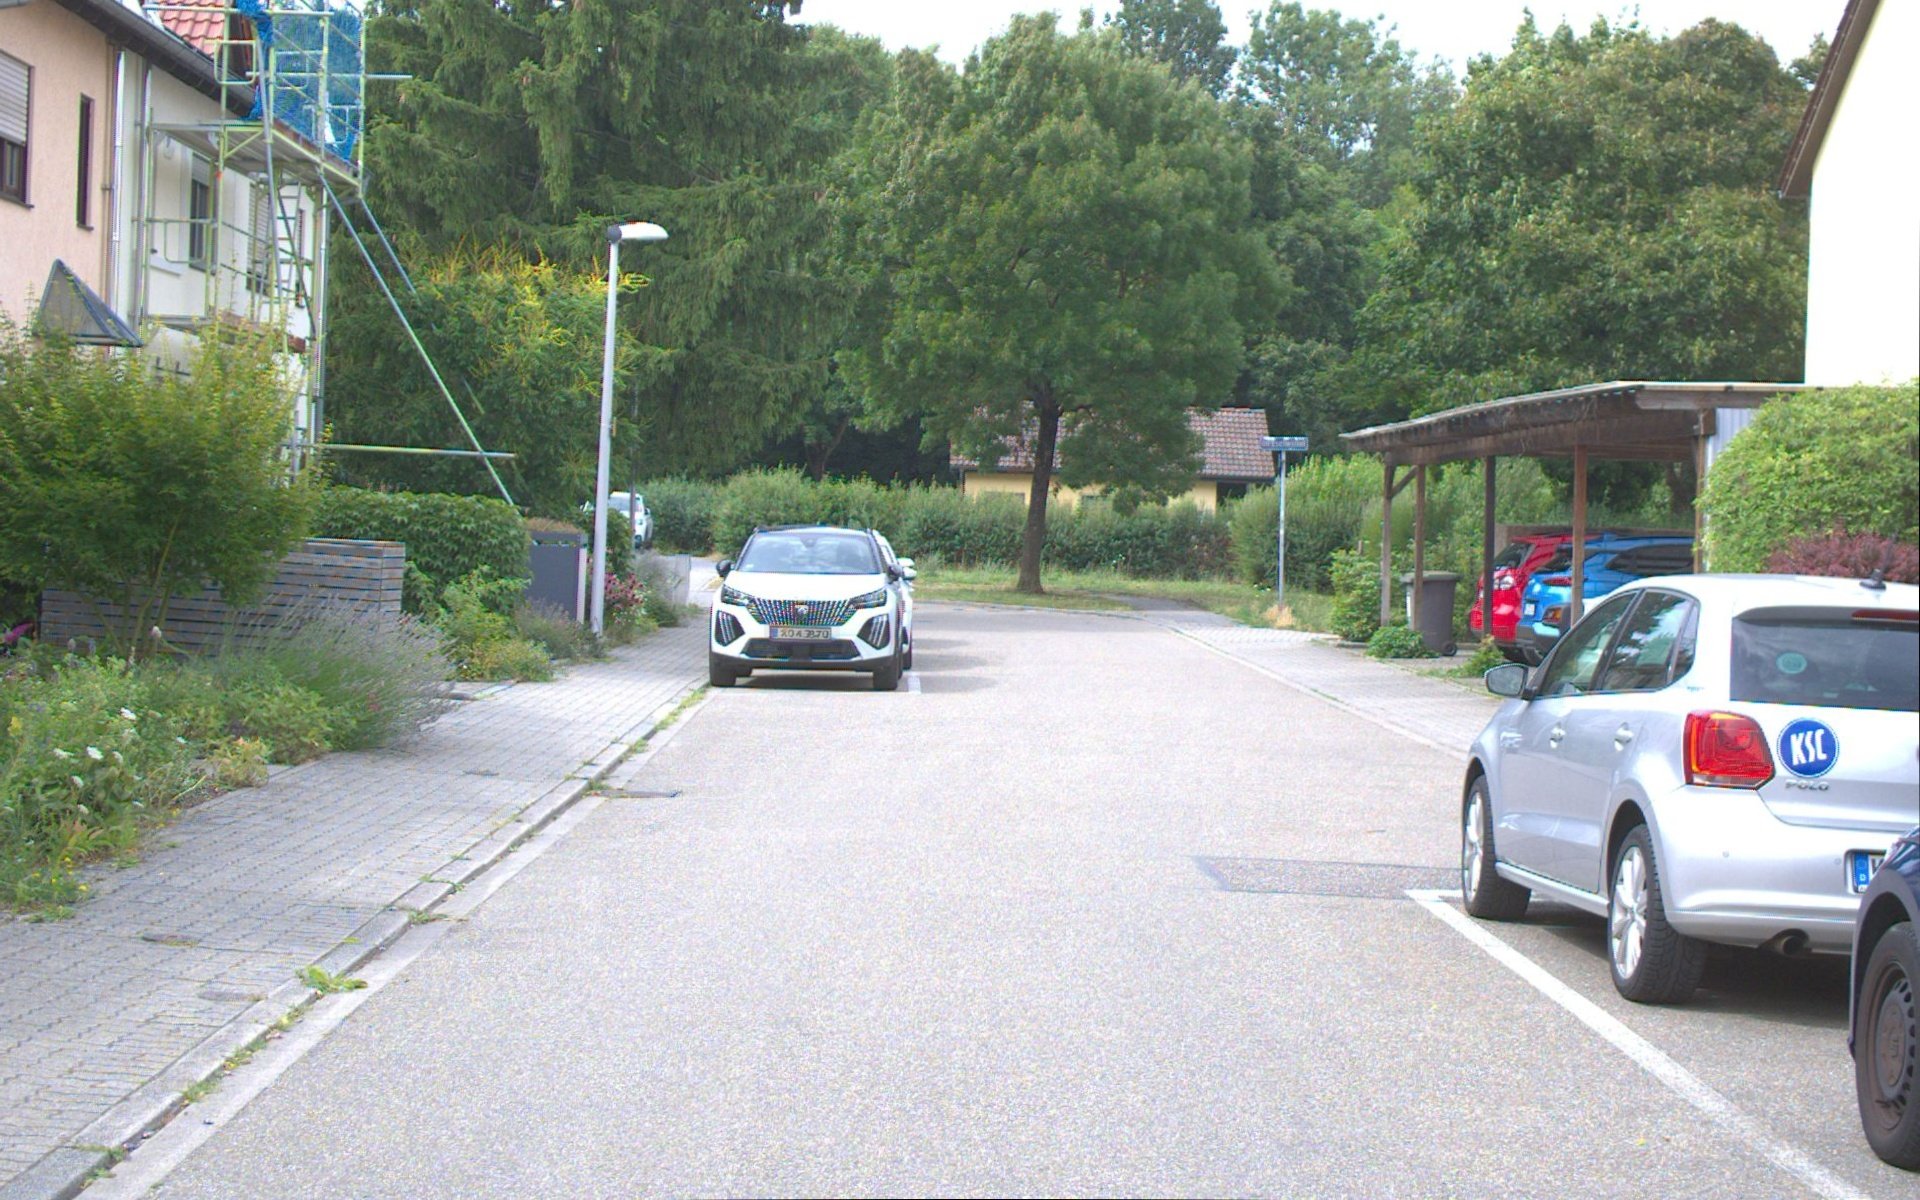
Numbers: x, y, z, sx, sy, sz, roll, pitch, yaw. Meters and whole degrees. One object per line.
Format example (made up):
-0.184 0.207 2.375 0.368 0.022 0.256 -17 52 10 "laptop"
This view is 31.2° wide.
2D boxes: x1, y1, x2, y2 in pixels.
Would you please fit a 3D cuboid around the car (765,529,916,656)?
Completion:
-1.506 -0.140 44.575 1.791 1.526 4.140 1 1 0 "car"

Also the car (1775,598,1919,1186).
3.153 0.735 7.339 1.773 1.351 4.266 1 1 0 "car"

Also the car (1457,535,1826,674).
8.092 0.035 41.034 3.956 1.535 1.839 1 1 -3 "car"

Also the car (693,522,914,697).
-1.463 0.036 33.717 1.934 1.551 4.634 1 1 0 "car"

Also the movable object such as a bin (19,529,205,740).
-5.412 0.206 21.992 0.949 1.307 1.001 1 1 -1 "movable object such as a bin"

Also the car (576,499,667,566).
-8.867 -1.777 90.343 1.937 1.654 4.341 2 1 0 "car"

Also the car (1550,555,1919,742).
7.343 0.395 28.572 4.449 1.428 2.027 1 1 -2 "car"

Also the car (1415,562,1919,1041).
3.038 0.625 12.836 1.864 1.412 4.254 2 1 -3 "car"

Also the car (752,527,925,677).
-1.333 -0.031 39.117 1.810 1.556 4.848 1 1 -1 "car"

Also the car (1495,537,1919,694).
7.849 0.146 36.112 4.045 1.517 1.951 1 1 -3 "car"
